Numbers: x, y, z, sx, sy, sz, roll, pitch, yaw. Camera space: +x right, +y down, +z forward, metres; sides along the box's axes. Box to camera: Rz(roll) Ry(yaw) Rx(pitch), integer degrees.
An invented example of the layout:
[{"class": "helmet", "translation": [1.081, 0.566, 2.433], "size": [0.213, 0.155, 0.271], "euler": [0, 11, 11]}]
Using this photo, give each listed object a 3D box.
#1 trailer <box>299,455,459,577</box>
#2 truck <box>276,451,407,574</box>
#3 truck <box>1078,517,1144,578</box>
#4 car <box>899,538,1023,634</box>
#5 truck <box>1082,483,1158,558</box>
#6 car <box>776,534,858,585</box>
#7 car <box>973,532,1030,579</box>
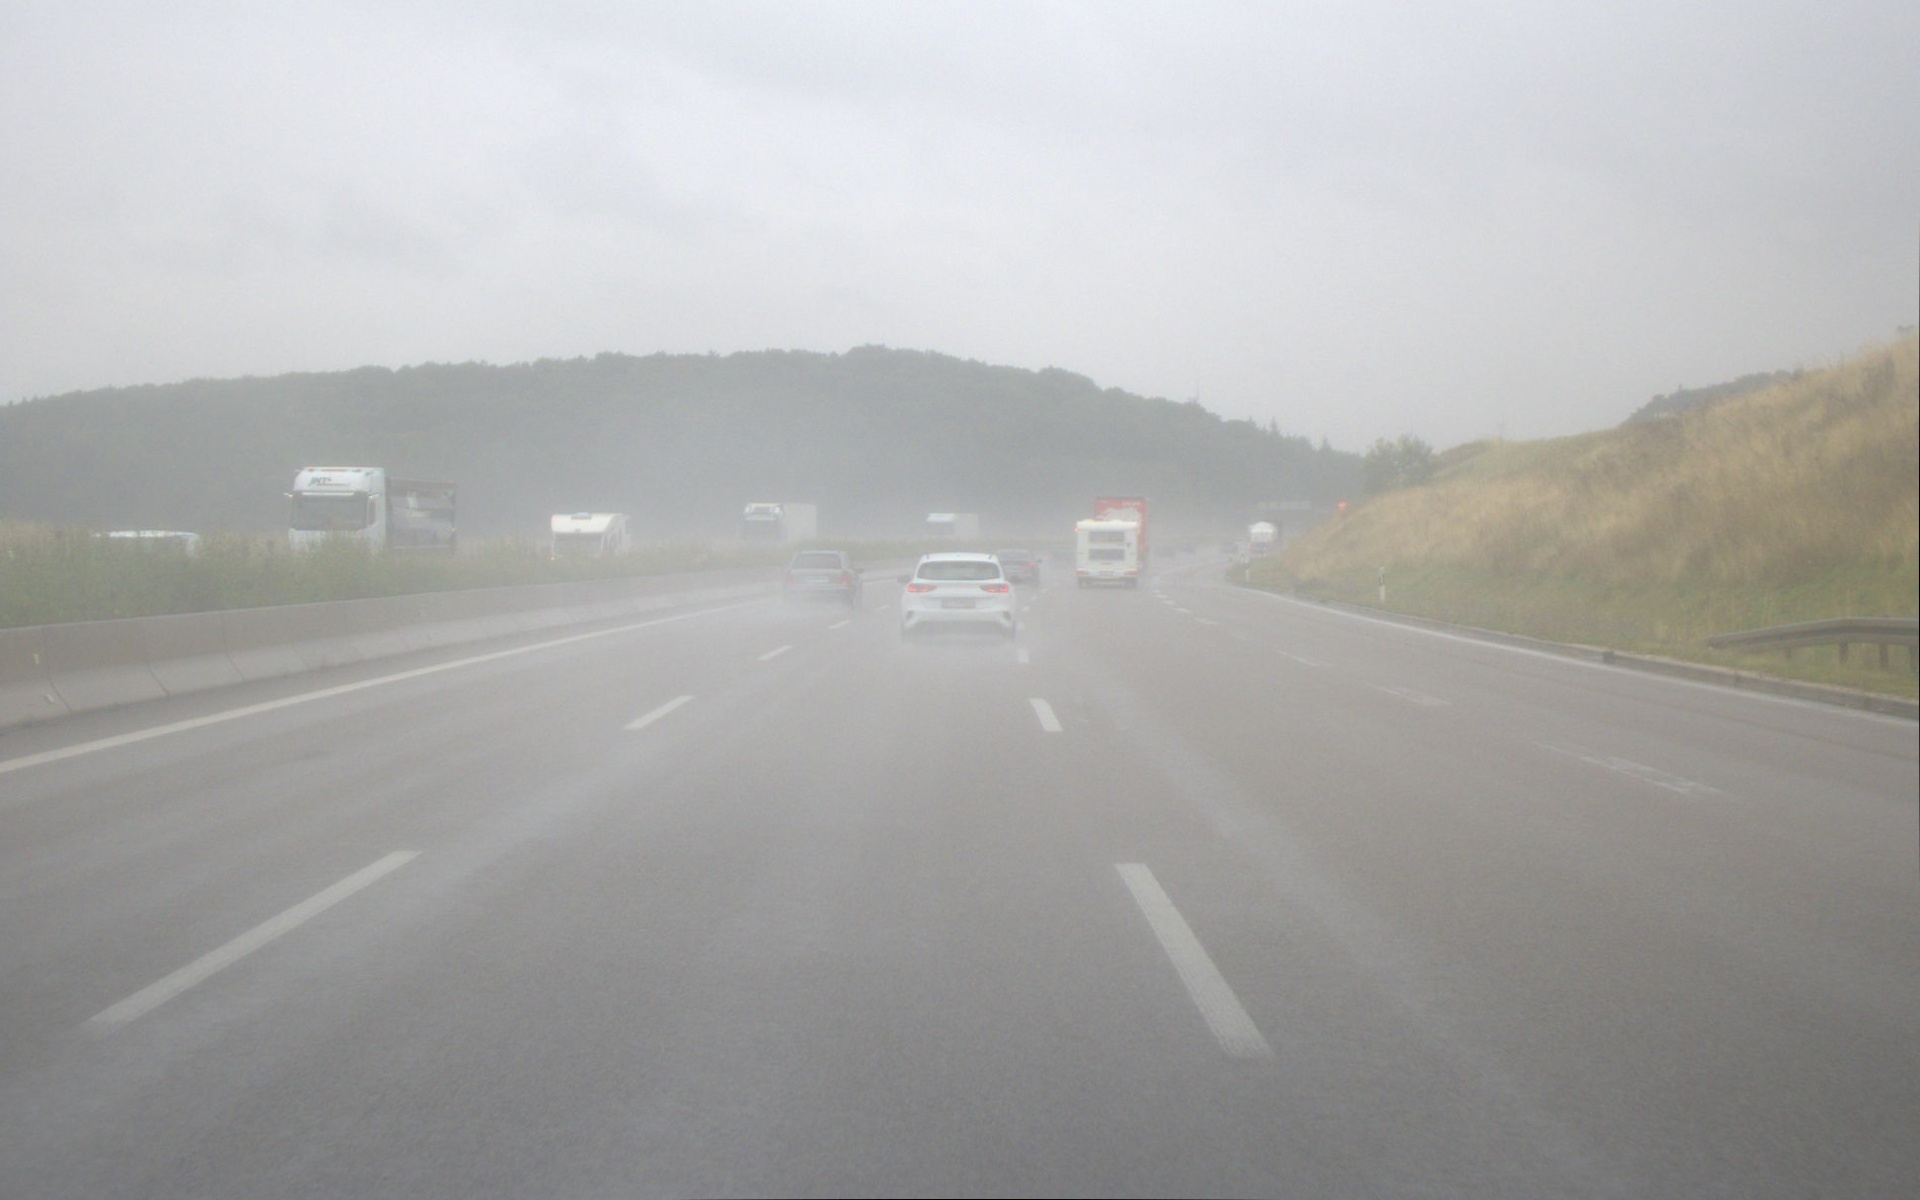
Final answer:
[{"class": "trailer", "translation": [-18.711, -2.630, 111.409], "size": [2.764, 3.608, 11.148], "euler": [1, 0, 3]}, {"class": "truck", "translation": [-18.960, -2.633, 105.727], "size": [2.779, 3.595, 5.739], "euler": [1, 0, 2]}, {"class": "truck", "translation": [5.600, -1.968, 128.120], "size": [2.408, 2.244, 4.693], "euler": [0, 1, 2]}, {"class": "car", "translation": [-0.019, -0.222, 54.758], "size": [1.867, 1.458, 4.000], "euler": [0, 0, -2]}, {"class": "truck", "translation": [8.174, -4.156, 177.128], "size": [3.527, 3.730, 11.426], "euler": [1, 2, 1]}, {"class": "car", "translation": [-3.454, -0.950, 82.432], "size": [1.823, 1.152, 4.213], "euler": [1, 0, -4]}, {"class": "car", "translation": [1.477, -1.596, 122.597], "size": [1.993, 1.612, 4.000], "euler": [0, 1, 0]}]
